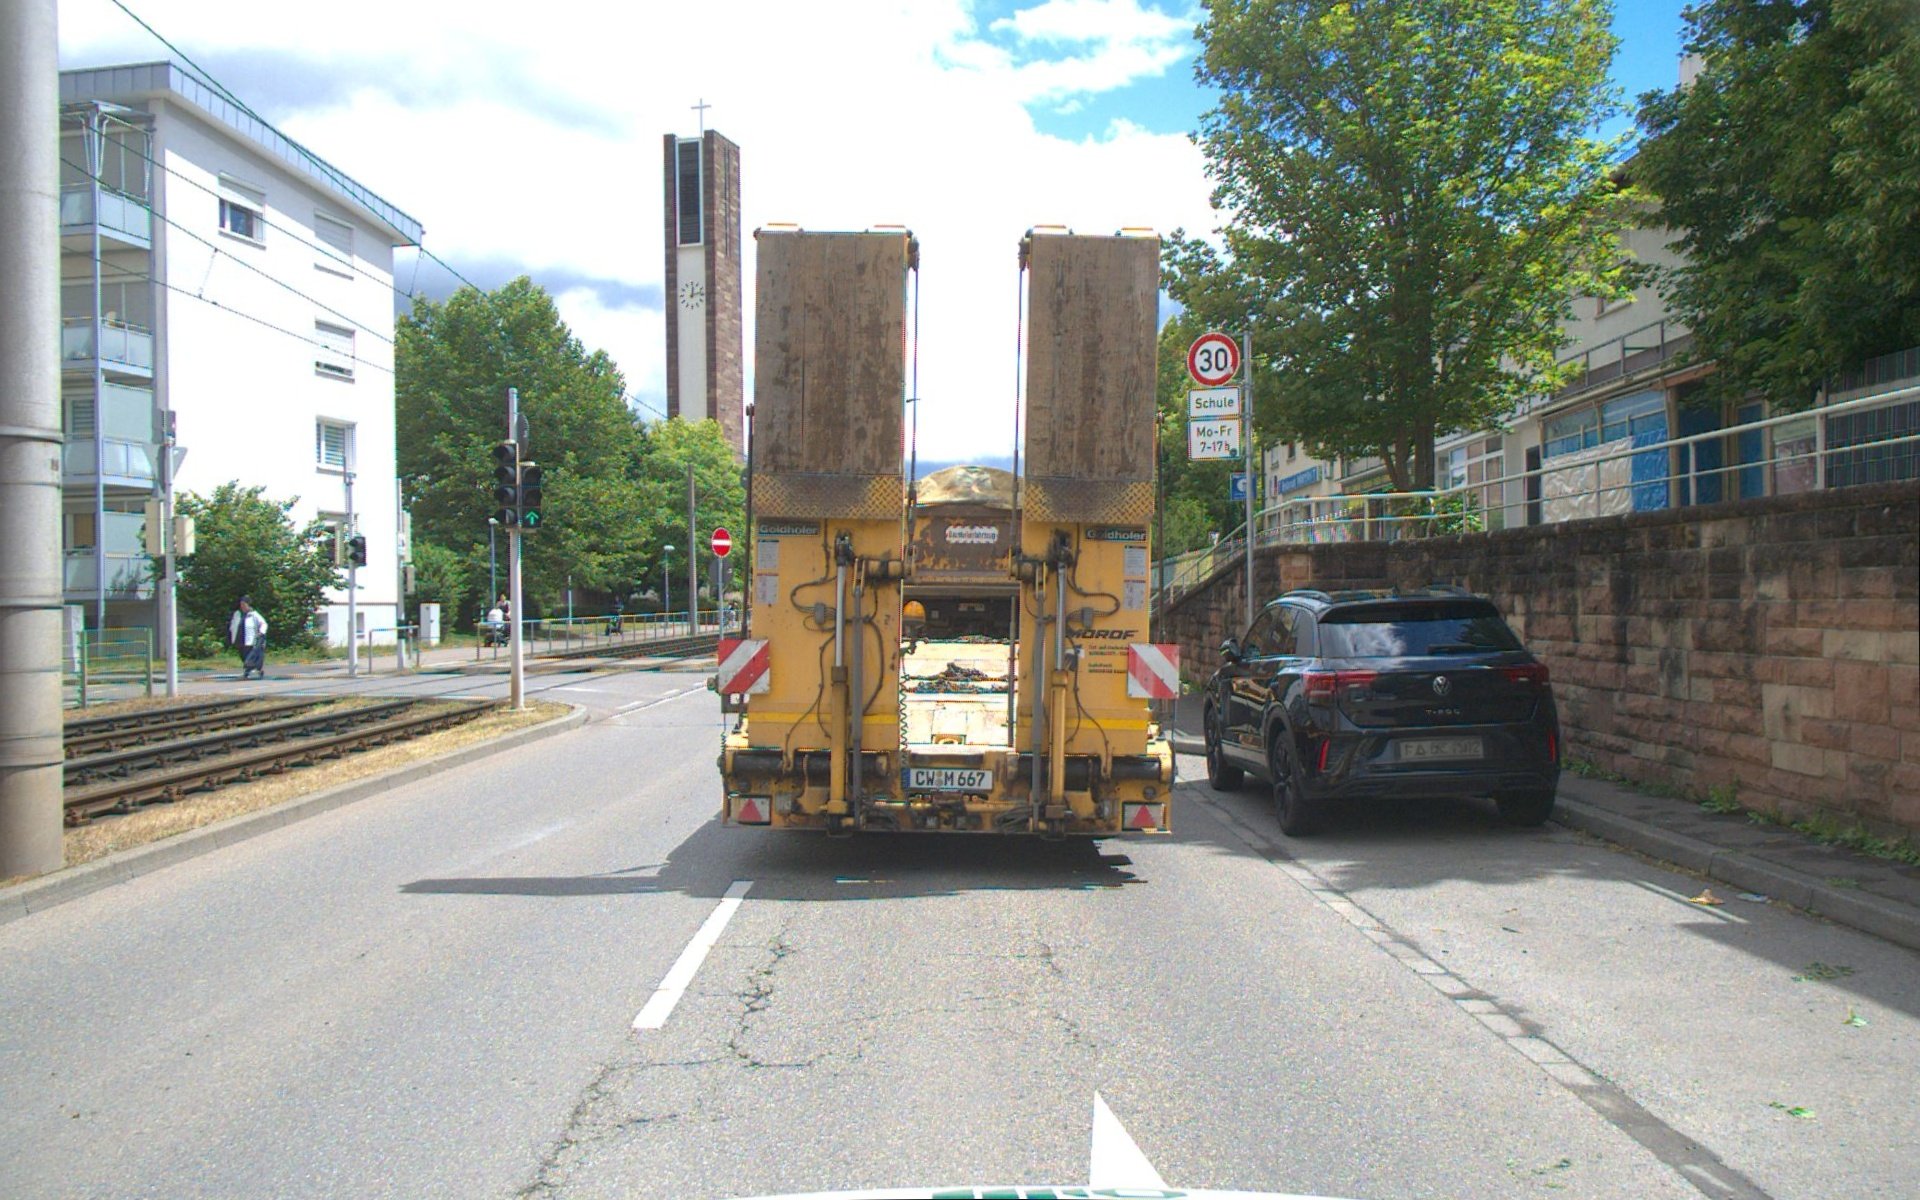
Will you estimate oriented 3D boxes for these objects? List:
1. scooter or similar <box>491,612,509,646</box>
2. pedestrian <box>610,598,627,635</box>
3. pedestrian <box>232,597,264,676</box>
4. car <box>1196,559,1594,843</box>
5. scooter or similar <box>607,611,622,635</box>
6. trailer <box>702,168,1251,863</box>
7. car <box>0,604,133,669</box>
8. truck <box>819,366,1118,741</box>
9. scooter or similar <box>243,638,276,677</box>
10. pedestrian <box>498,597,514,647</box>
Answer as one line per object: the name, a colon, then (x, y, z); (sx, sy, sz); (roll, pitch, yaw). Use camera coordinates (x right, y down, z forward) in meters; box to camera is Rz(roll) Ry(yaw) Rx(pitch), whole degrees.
scooter or similar: (-14.435, 0.908, 51.868); (0.331, 1.076, 0.688); (-1, 0, 3)
pedestrian: (-14.318, 0.686, 69.340); (0.552, 1.540, 0.645); (1, 0, -2)
pedestrian: (-14.459, 0.736, 33.597); (0.428, 1.608, 0.475); (0, 0, 4)
car: (2.931, 0.614, 12.062); (1.813, 1.668, 4.000); (-2, 0, 0)
scooter or similar: (-14.337, 0.954, 68.683); (0.495, 0.988, 0.645); (1, 0, -2)
trailer: (0.094, -0.461, 13.117); (2.885, 3.664, 8.683); (0, 0, 0)
car: (-20.604, 0.798, 36.395); (3.902, 1.369, 1.902); (-1, 0, 7)
truck: (0.087, -0.461, 18.557); (2.882, 3.635, 4.876); (0, 0, 0)
scooter or similar: (-14.077, 1.157, 33.251); (0.428, 0.760, 0.475); (0, 0, 4)
pedestrian: (-14.406, 0.693, 52.501); (0.341, 1.564, 0.557); (-1, 0, 3)
